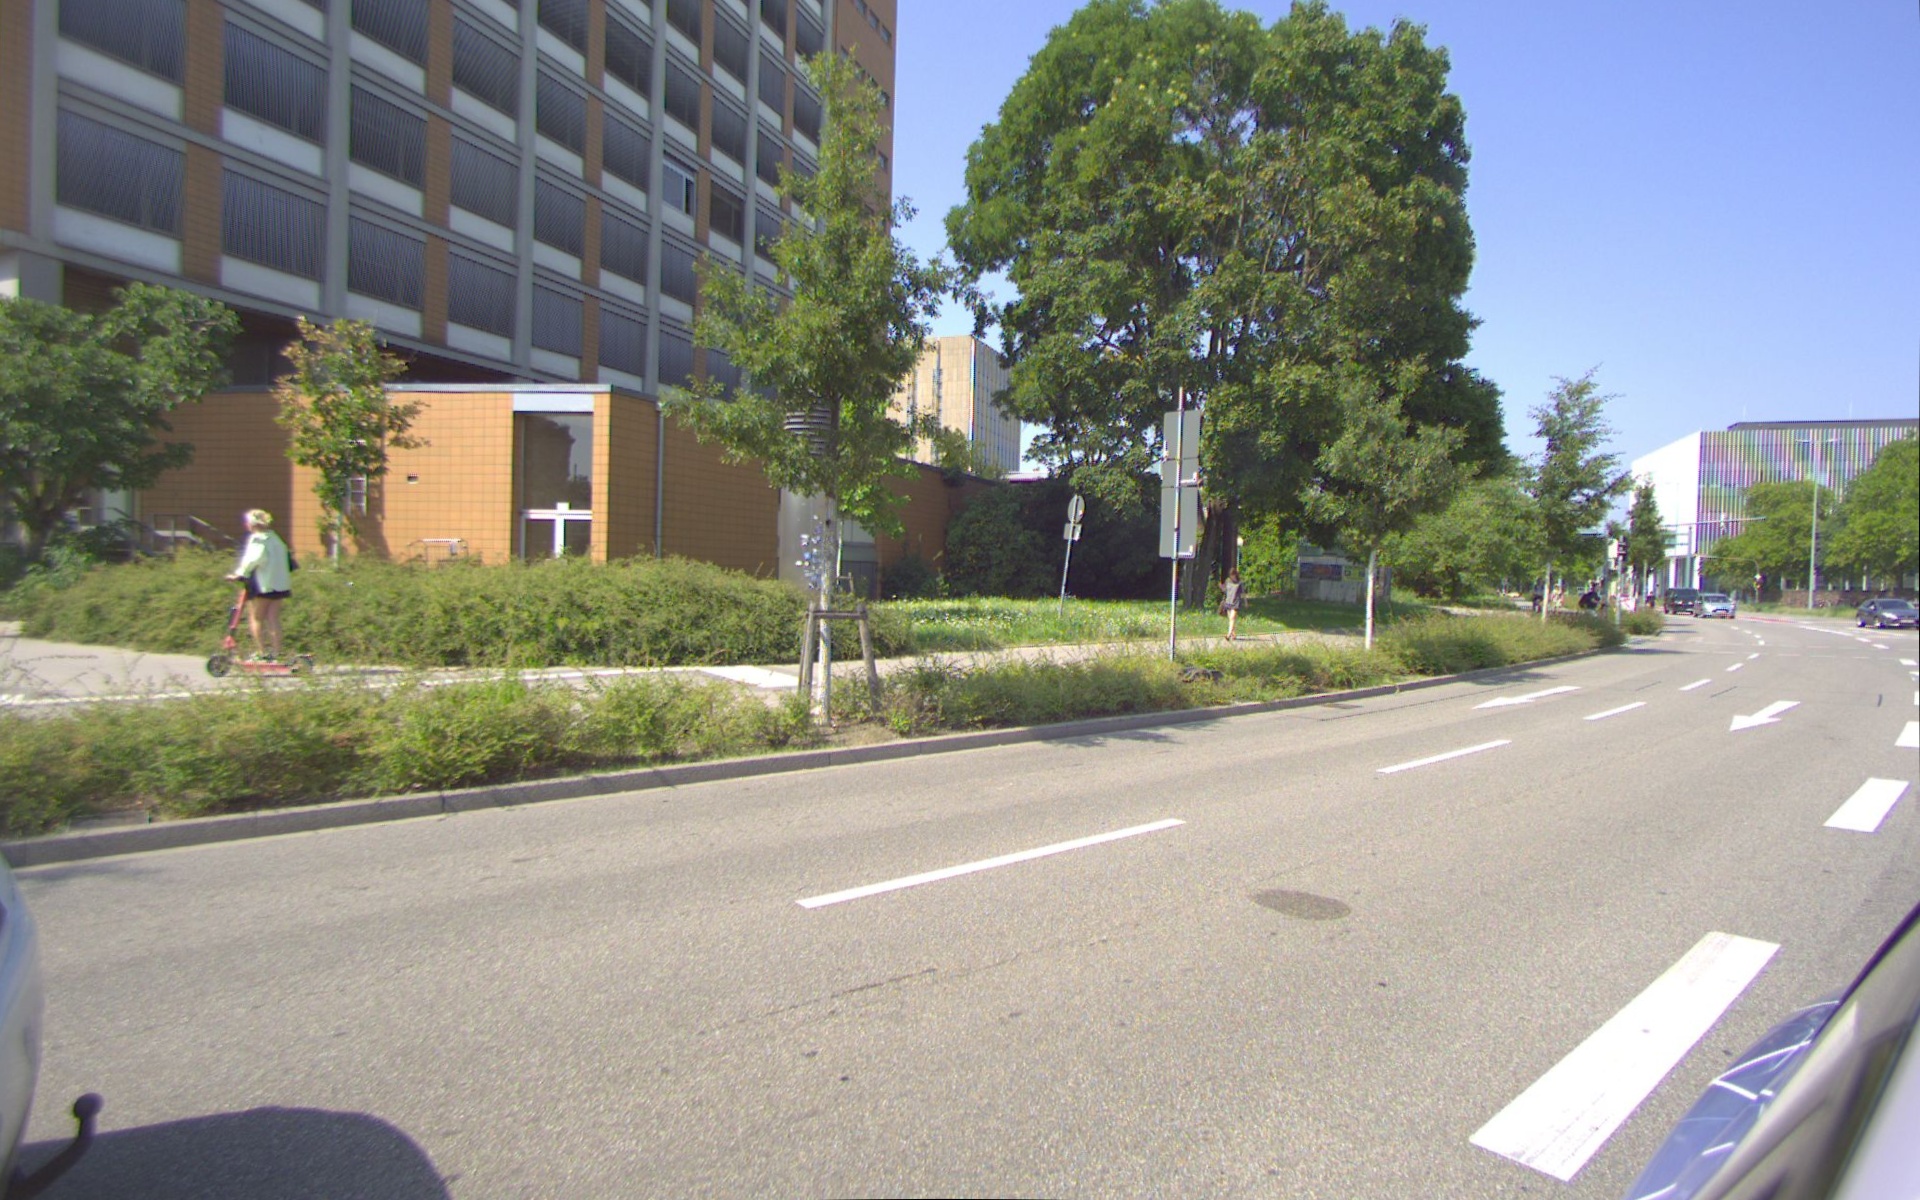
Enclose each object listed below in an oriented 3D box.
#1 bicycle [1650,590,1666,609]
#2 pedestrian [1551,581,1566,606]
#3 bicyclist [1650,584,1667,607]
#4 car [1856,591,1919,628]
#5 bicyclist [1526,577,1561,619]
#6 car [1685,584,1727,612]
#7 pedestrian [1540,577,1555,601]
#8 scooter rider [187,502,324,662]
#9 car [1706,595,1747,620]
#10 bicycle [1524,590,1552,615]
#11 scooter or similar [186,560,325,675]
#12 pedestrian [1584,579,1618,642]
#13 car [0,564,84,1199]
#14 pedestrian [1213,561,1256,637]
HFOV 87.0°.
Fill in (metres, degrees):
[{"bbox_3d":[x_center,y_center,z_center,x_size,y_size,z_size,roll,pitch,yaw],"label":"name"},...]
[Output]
[{"bbox_3d":[43.927,-0.031,63.706,0.589,1.183,2.213,2,1,28],"label":"bicycle"},{"bbox_3d":[31.946,-0.329,54.001,0.611,1.315,0.434,0,0,24],"label":"pedestrian"},{"bbox_3d":[43.998,-0.312,63.744,0.673,1.417,1.040,2,1,27],"label":"bicyclist"},{"bbox_3d":[45.195,0.431,48.588,1.776,1.638,3.977,2,2,18],"label":"car"},{"bbox_3d":[23.215,-0.096,40.278,0.908,1.625,0.903,1,1,-41],"label":"bicyclist"},{"bbox_3d":[54.124,-0.150,73.511,1.875,1.943,4.486,1,1,30],"label":"car"},{"bbox_3d":[31.431,-0.588,54.148,0.628,1.315,0.483,0,0,24],"label":"pedestrian"},{"bbox_3d":[-8.144,-0.211,11.739,1.019,1.780,0.861,0,0,-7],"label":"scooter rider"},{"bbox_3d":[49.004,0.469,64.799,1.647,1.550,4.482,0,0,31],"label":"car"},{"bbox_3d":[23.027,0.102,40.315,1.750,0.992,0.357,0,2,-39],"label":"bicycle"},{"bbox_3d":[-8.132,0.193,11.722,1.153,1.295,0.652,0,0,-6],"label":"scooter or similar"},{"bbox_3d":[20.090,0.332,31.719,0.819,1.926,0.622,2,1,39],"label":"pedestrian"},{"bbox_3d":[-3.561,0.665,0.562,4.524,1.446,1.774,0,2,-38],"label":"car"},{"bbox_3d":[6.377,-0.040,23.480,0.669,1.720,0.795,2,1,38],"label":"pedestrian"}]
